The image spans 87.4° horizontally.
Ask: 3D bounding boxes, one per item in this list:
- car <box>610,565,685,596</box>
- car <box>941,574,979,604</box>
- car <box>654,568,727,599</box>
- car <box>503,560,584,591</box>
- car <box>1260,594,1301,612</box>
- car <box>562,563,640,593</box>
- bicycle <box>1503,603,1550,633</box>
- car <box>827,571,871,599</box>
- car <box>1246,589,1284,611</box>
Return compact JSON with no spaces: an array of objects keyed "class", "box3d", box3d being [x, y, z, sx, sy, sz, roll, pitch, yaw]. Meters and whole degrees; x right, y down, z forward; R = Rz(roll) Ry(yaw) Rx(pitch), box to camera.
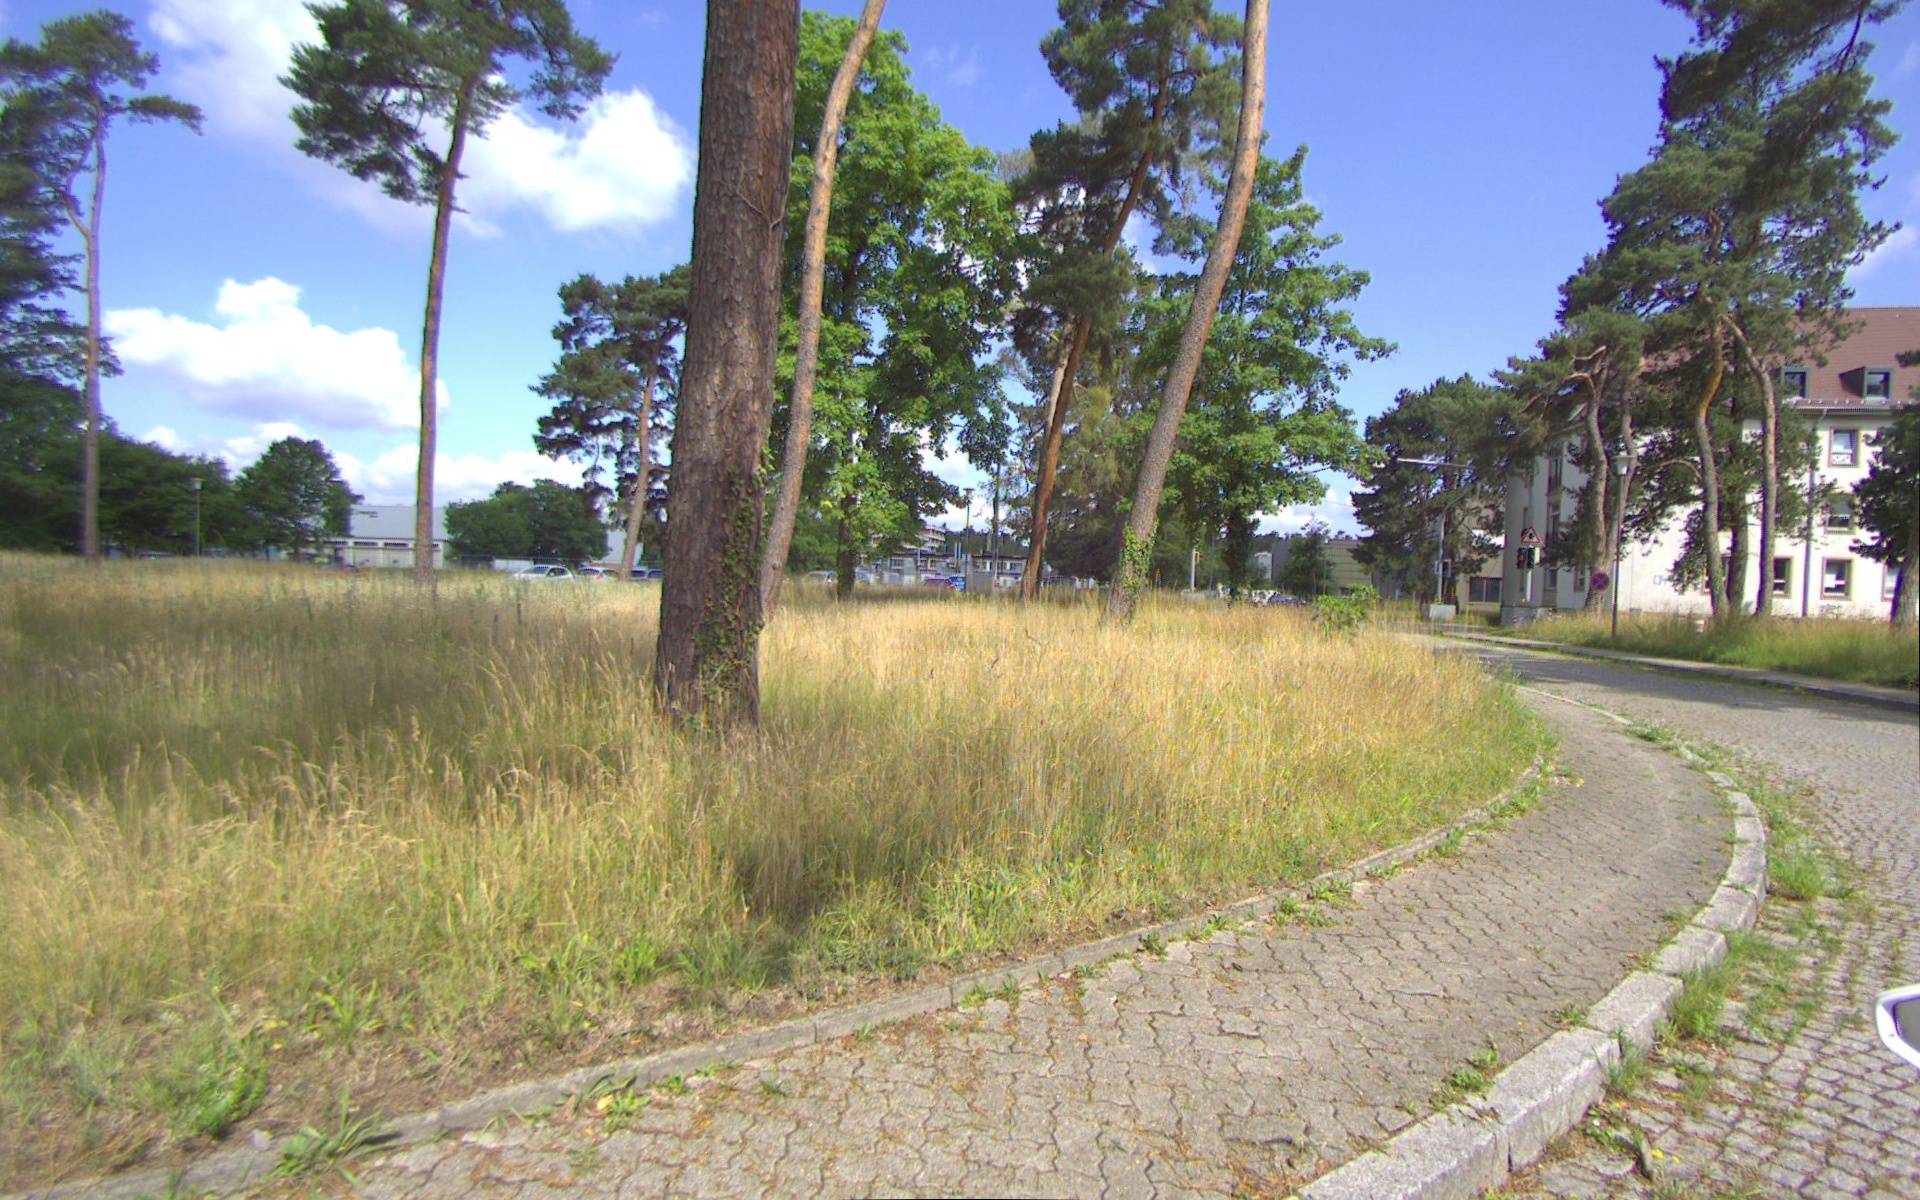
[{"class":"car","box3d":[-14.986,-0.911,48.402,1.862,1.337,4.081,2,1,8]},{"class":"car","box3d":[0.022,-0.729,64.767,1.862,1.804,4.081,2,1,8]},{"class":"car","box3d":[-12.732,-0.775,47.738,1.862,1.327,4.081,2,1,8]},{"class":"car","box3d":[-20.626,-1.194,49.907,1.862,1.367,4.073,2,1,8]},{"class":"car","box3d":[30.268,0.318,94.849,3.618,1.523,1.730,2,1,19]},{"class":"car","box3d":[-17.610,-1.073,49.477,1.862,1.356,4.081,2,1,8]},{"class":"bicycle","box3d":[22.755,0.703,40.356,1.555,1.115,0.491,3,1,21]},{"class":"car","box3d":[-7.324,-1.001,66.696,1.862,1.725,4.081,2,1,8]},{"class":"car","box3d":[31.573,-0.039,103.945,3.618,2.116,1.730,2,1,19]}]
